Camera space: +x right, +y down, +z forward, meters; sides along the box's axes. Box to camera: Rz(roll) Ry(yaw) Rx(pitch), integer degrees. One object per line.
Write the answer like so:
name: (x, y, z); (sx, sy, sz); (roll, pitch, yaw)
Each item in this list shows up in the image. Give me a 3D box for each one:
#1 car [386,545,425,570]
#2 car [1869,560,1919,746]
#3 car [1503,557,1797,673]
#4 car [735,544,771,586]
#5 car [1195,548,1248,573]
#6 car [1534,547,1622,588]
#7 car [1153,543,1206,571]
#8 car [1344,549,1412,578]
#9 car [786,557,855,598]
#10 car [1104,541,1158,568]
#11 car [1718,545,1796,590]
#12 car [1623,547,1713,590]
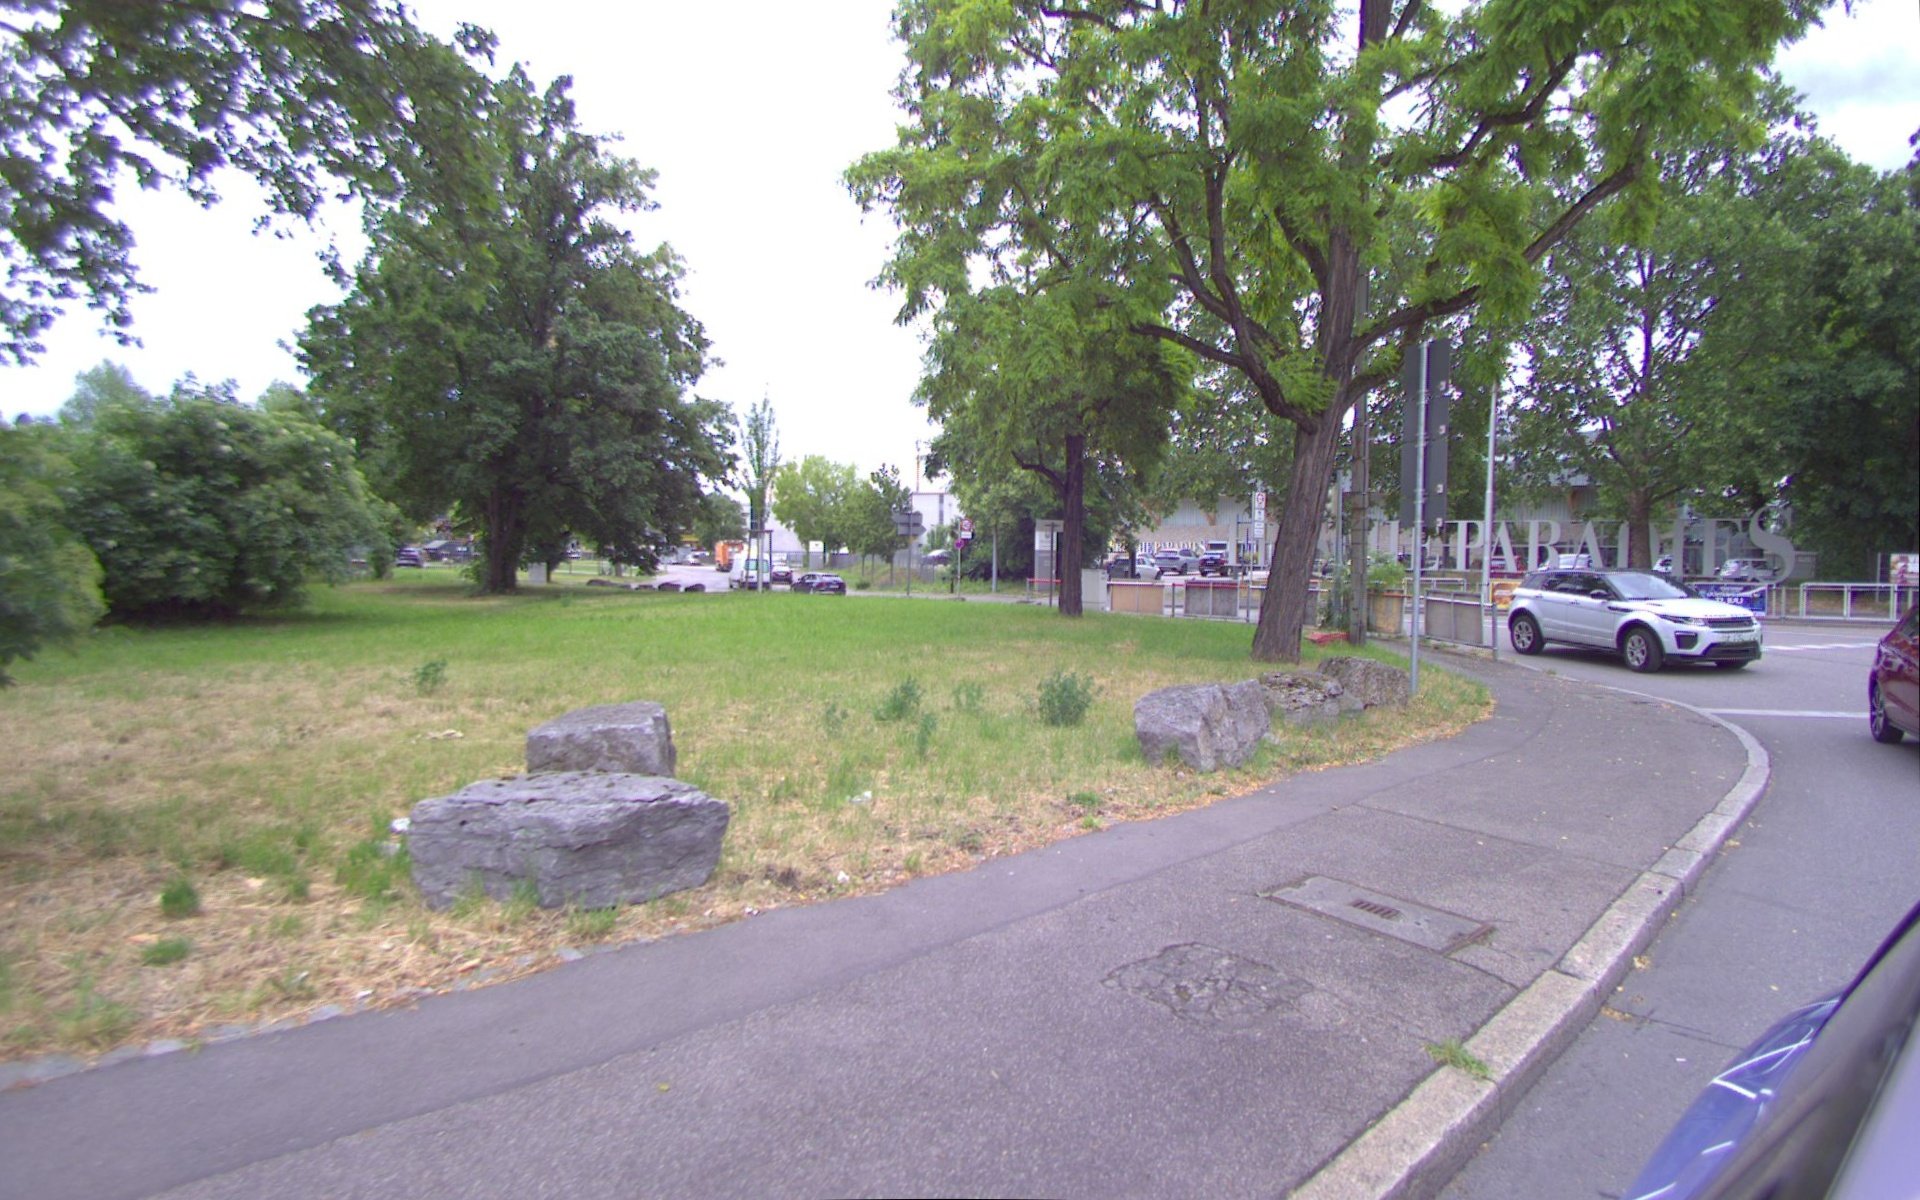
car: (-38.924, -3.004, 71.100); (1.887, 1.572, 4.010); (0, 4, -22)
car: (8.904, 0.483, 8.117); (1.755, 1.548, 3.699); (1, 3, 32)
car: (11.617, 0.133, 17.447); (1.878, 1.588, 4.122); (-3, 4, -8)
car: (-13.812, -2.261, 67.527); (2.147, 2.573, 6.496); (-3, 2, -12)
car: (16.533, -2.492, 63.884); (1.906, 1.526, 3.947); (3, 4, 37)
car: (25.584, -1.365, 41.830); (4.624, 1.475, 1.995); (-4, 2, -44)
car: (14.384, -2.808, 66.195); (1.906, 1.721, 3.947); (3, 3, 37)
car: (24.144, -2.099, 58.340); (1.931, 1.448, 5.173); (-1, 2, 43)
car: (-7.575, -1.239, 54.592); (1.959, 1.474, 5.235); (10, 1, -26)
car: (11.472, -3.027, 67.671); (1.906, 1.721, 3.947); (3, 3, 37)
car: (29.882, -1.228, 37.891); (1.992, 1.475, 4.631); (-1, 2, 42)
car: (27.616, -1.240, 39.433); (4.624, 1.475, 1.995); (-4, 2, -44)
